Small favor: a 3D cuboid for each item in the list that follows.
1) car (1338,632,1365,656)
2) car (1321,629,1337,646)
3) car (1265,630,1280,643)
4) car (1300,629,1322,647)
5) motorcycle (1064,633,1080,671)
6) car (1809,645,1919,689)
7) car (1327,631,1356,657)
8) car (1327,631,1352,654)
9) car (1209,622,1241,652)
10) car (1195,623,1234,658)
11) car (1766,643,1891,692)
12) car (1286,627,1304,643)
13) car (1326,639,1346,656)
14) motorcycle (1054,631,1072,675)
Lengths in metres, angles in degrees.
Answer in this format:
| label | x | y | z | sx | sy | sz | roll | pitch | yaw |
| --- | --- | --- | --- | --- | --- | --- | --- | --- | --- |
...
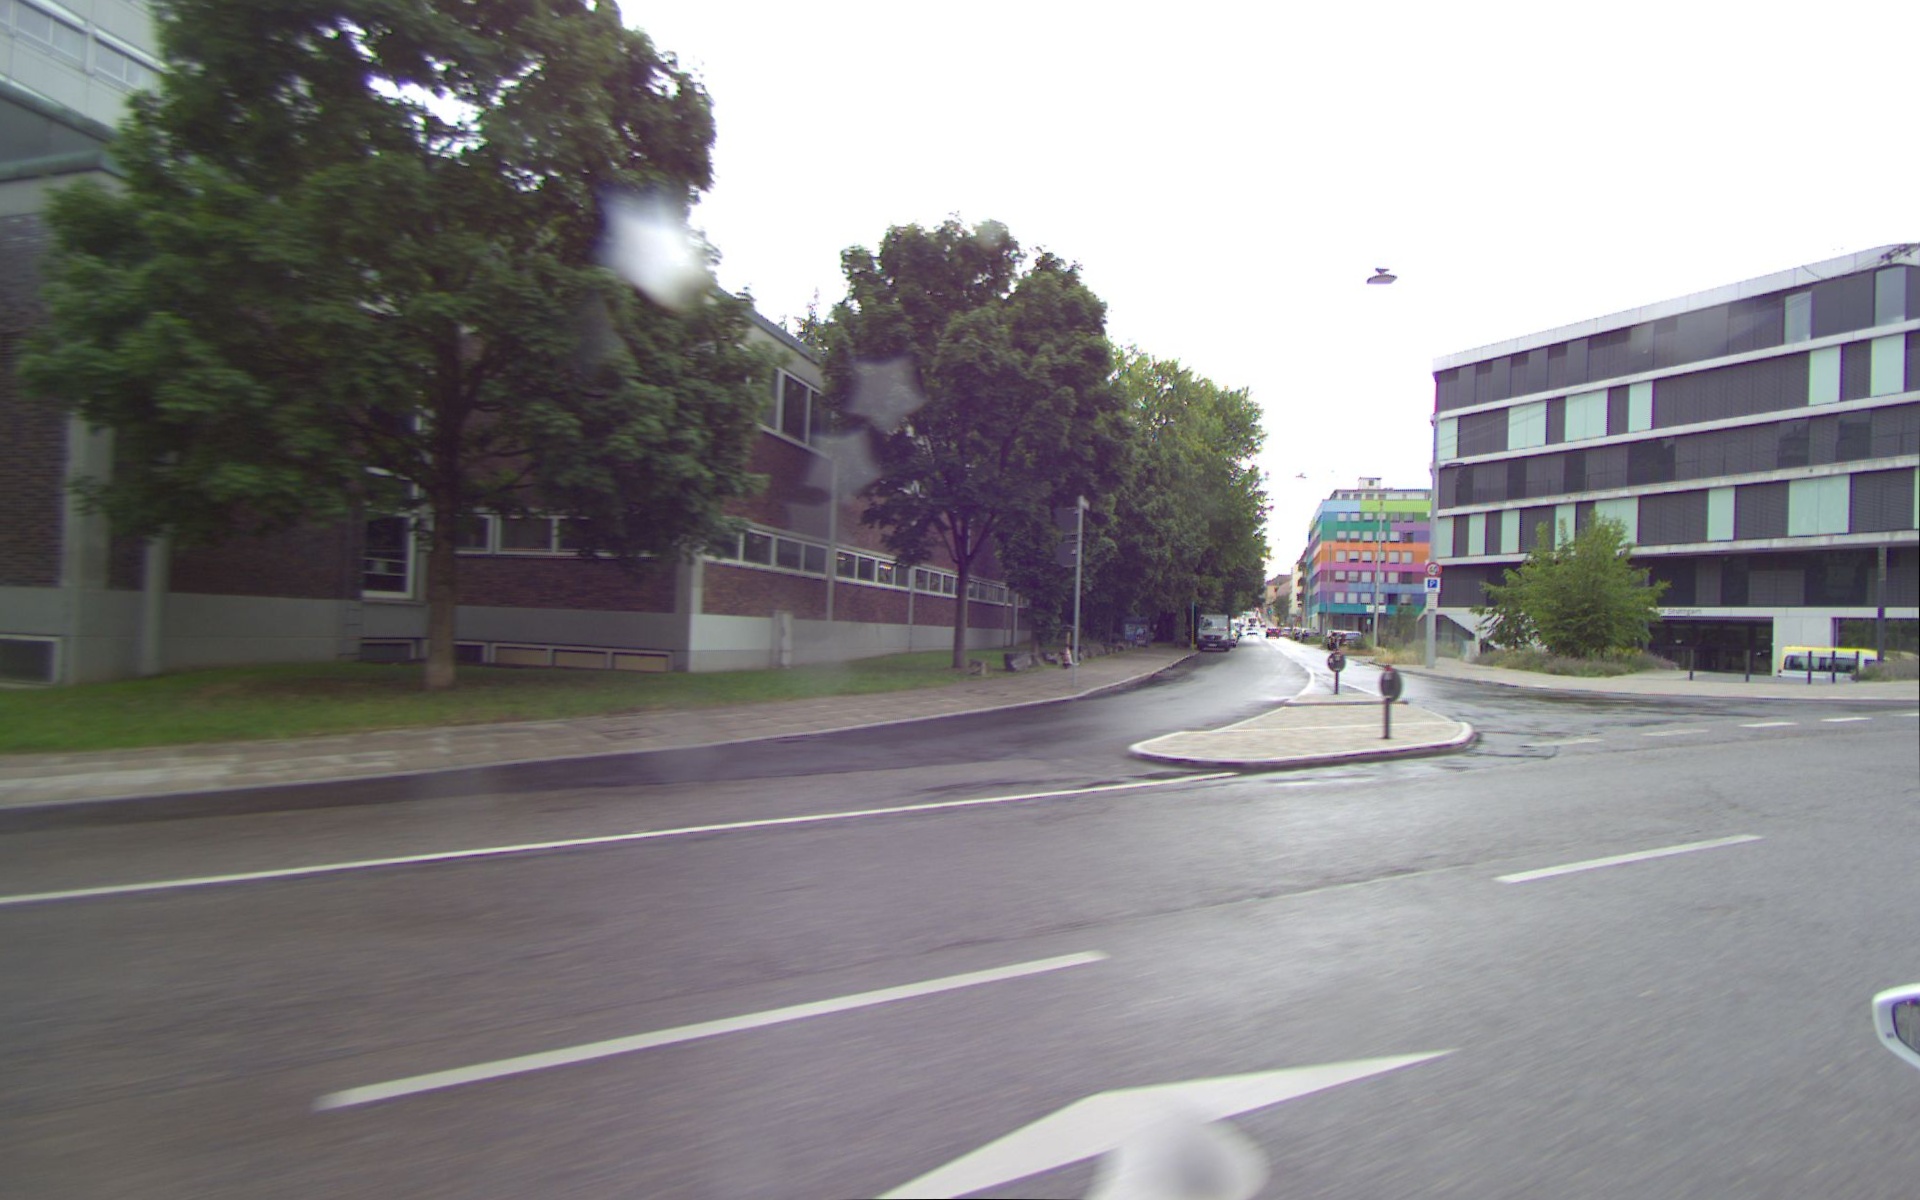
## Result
| label | x | y | z | sx | sy | sz | roll | pitch | yaw |
| --- | --- | --- | --- | --- | --- | --- | --- | --- | --- |
| car | 26.300 | 2.956 | 67.550 | 1.636 | 1.469 | 3.868 | 2 | -1 | 20 |
| car | 35.460 | 3.571 | 96.515 | 1.413 | 1.514 | 3.639 | 0 | -1 | 20 |
| car | 44.158 | 5.109 | 141.888 | 1.960 | 1.682 | 4.001 | 2 | -1 | 17 |
| car | 37.077 | 3.999 | 106.248 | 1.960 | 1.864 | 4.002 | 1 | -1 | 16 |
| motorcycle | 3.449 | 1.591 | 30.860 | 0.404 | 1.139 | 1.171 | 2 | -2 | 9 |
| car | 48.737 | 3.557 | 54.060 | 1.578 | 2.059 | 4.324 | 2 | -1 | -28 |
| car | 27.912 | 3.187 | 73.481 | 1.883 | 1.762 | 4.000 | 2 | -1 | 20 |
| car | 29.334 | 3.289 | 77.716 | 1.771 | 1.609 | 3.678 | 2 | -1 | 20 |
| car | 20.216 | 2.792 | 76.772 | 2.126 | 2.124 | 4.841 | 2 | -1 | 13 |
| car | 16.117 | 2.507 | 63.514 | 2.035 | 2.070 | 4.280 | 2 | -1 | 18 |
| car | 45.135 | 3.455 | 52.304 | 1.911 | 2.203 | 4.562 | 2 | -1 | -33 |
| car | 41.033 | 4.303 | 122.970 | 1.960 | 1.864 | 4.002 | 1 | -1 | 16 |
| car | 30.567 | 3.822 | 81.754 | 1.452 | 1.257 | 3.400 | 2 | -1 | 20 |
| motorcycle | 2.948 | 1.495 | 28.747 | 0.404 | 1.200 | 1.228 | 2 | 0 | 9 |
